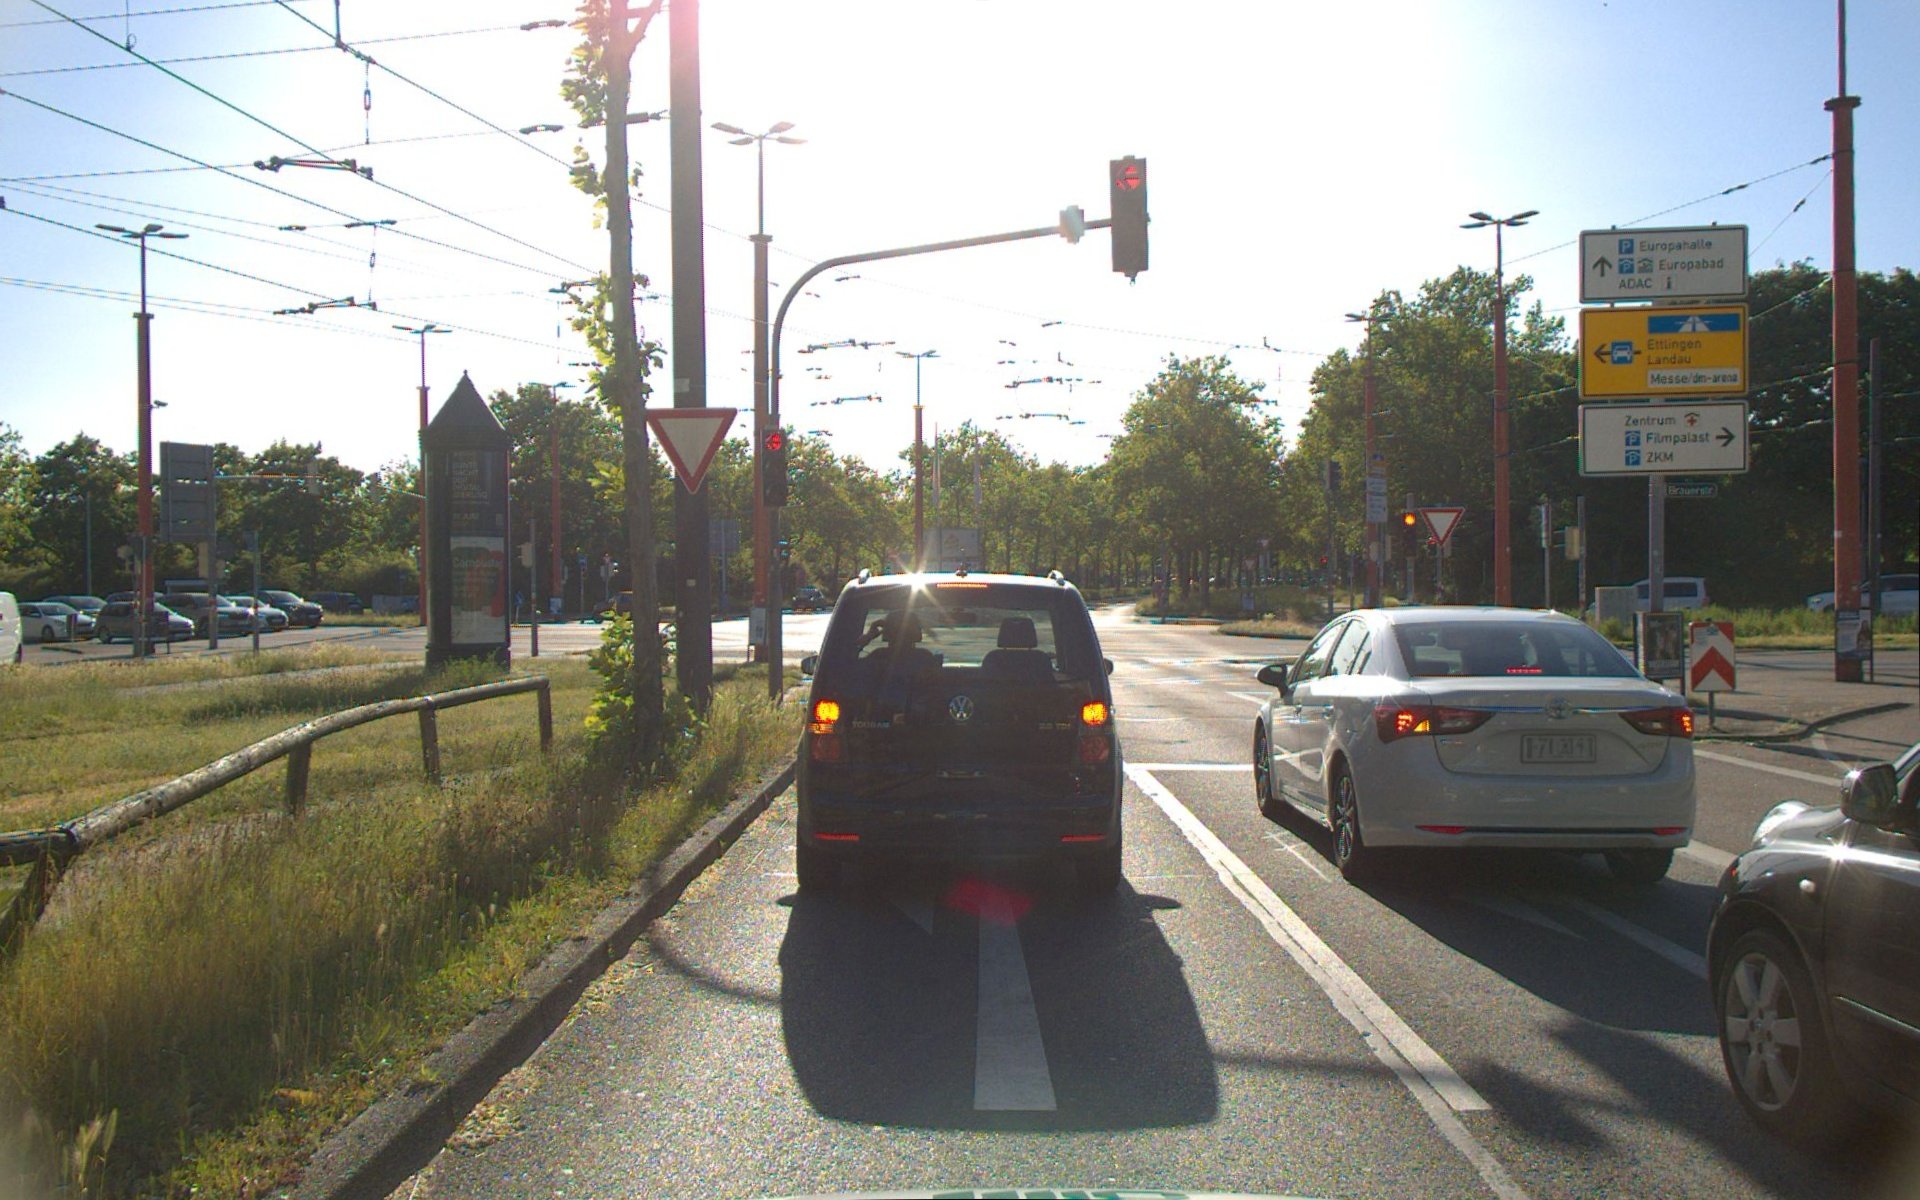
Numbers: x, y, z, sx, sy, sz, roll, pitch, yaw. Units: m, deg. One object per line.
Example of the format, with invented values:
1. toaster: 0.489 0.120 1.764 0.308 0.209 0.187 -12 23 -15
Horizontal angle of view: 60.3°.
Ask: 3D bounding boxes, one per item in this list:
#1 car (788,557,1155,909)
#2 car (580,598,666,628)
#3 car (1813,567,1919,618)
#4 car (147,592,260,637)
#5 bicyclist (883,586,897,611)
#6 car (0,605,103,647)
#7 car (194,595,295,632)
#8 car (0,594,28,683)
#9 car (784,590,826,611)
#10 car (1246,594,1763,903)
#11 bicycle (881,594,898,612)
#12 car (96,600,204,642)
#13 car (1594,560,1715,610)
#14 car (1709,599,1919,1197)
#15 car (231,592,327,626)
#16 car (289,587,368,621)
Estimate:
1. car: 0.069 0.635 9.961 1.703 1.630 4.326 1 0 0
2. car: -16.893 0.647 82.822 4.036 1.427 1.656 0 0 25
3. car: 30.828 -0.253 54.696 4.568 1.654 1.655 0 0 26
4. car: -29.314 0.541 64.091 4.541 1.676 1.654 0 0 30
5. bicyclist: -5.598 -0.109 131.603 0.955 1.937 1.051 0 0 6
6. car: -34.934 0.971 63.253 4.536 1.546 1.654 0 0 30
7. car: -29.400 0.533 67.926 4.060 1.440 1.542 0 0 26
8. car: -21.375 0.807 35.381 1.801 1.853 4.871 0 0 -21
9. car: -10.853 0.046 116.066 1.616 1.427 4.136 0 0 14
10. car: 3.016 0.728 10.182 1.762 1.465 4.326 1 0 0
11. bicycle: -5.605 0.238 131.563 0.955 1.413 2.982 0 0 6
12. car: -29.540 0.731 60.300 3.755 1.466 1.655 0 0 27
13. car: 25.571 -0.558 60.941 4.037 1.780 1.655 0 0 26
14. car: 3.137 0.742 3.486 1.544 1.465 3.441 1 0 0
15. car: -29.463 0.374 71.549 4.060 1.440 1.542 0 0 26
16. car: -34.956 0.208 91.605 4.037 1.822 1.797 0 0 25
